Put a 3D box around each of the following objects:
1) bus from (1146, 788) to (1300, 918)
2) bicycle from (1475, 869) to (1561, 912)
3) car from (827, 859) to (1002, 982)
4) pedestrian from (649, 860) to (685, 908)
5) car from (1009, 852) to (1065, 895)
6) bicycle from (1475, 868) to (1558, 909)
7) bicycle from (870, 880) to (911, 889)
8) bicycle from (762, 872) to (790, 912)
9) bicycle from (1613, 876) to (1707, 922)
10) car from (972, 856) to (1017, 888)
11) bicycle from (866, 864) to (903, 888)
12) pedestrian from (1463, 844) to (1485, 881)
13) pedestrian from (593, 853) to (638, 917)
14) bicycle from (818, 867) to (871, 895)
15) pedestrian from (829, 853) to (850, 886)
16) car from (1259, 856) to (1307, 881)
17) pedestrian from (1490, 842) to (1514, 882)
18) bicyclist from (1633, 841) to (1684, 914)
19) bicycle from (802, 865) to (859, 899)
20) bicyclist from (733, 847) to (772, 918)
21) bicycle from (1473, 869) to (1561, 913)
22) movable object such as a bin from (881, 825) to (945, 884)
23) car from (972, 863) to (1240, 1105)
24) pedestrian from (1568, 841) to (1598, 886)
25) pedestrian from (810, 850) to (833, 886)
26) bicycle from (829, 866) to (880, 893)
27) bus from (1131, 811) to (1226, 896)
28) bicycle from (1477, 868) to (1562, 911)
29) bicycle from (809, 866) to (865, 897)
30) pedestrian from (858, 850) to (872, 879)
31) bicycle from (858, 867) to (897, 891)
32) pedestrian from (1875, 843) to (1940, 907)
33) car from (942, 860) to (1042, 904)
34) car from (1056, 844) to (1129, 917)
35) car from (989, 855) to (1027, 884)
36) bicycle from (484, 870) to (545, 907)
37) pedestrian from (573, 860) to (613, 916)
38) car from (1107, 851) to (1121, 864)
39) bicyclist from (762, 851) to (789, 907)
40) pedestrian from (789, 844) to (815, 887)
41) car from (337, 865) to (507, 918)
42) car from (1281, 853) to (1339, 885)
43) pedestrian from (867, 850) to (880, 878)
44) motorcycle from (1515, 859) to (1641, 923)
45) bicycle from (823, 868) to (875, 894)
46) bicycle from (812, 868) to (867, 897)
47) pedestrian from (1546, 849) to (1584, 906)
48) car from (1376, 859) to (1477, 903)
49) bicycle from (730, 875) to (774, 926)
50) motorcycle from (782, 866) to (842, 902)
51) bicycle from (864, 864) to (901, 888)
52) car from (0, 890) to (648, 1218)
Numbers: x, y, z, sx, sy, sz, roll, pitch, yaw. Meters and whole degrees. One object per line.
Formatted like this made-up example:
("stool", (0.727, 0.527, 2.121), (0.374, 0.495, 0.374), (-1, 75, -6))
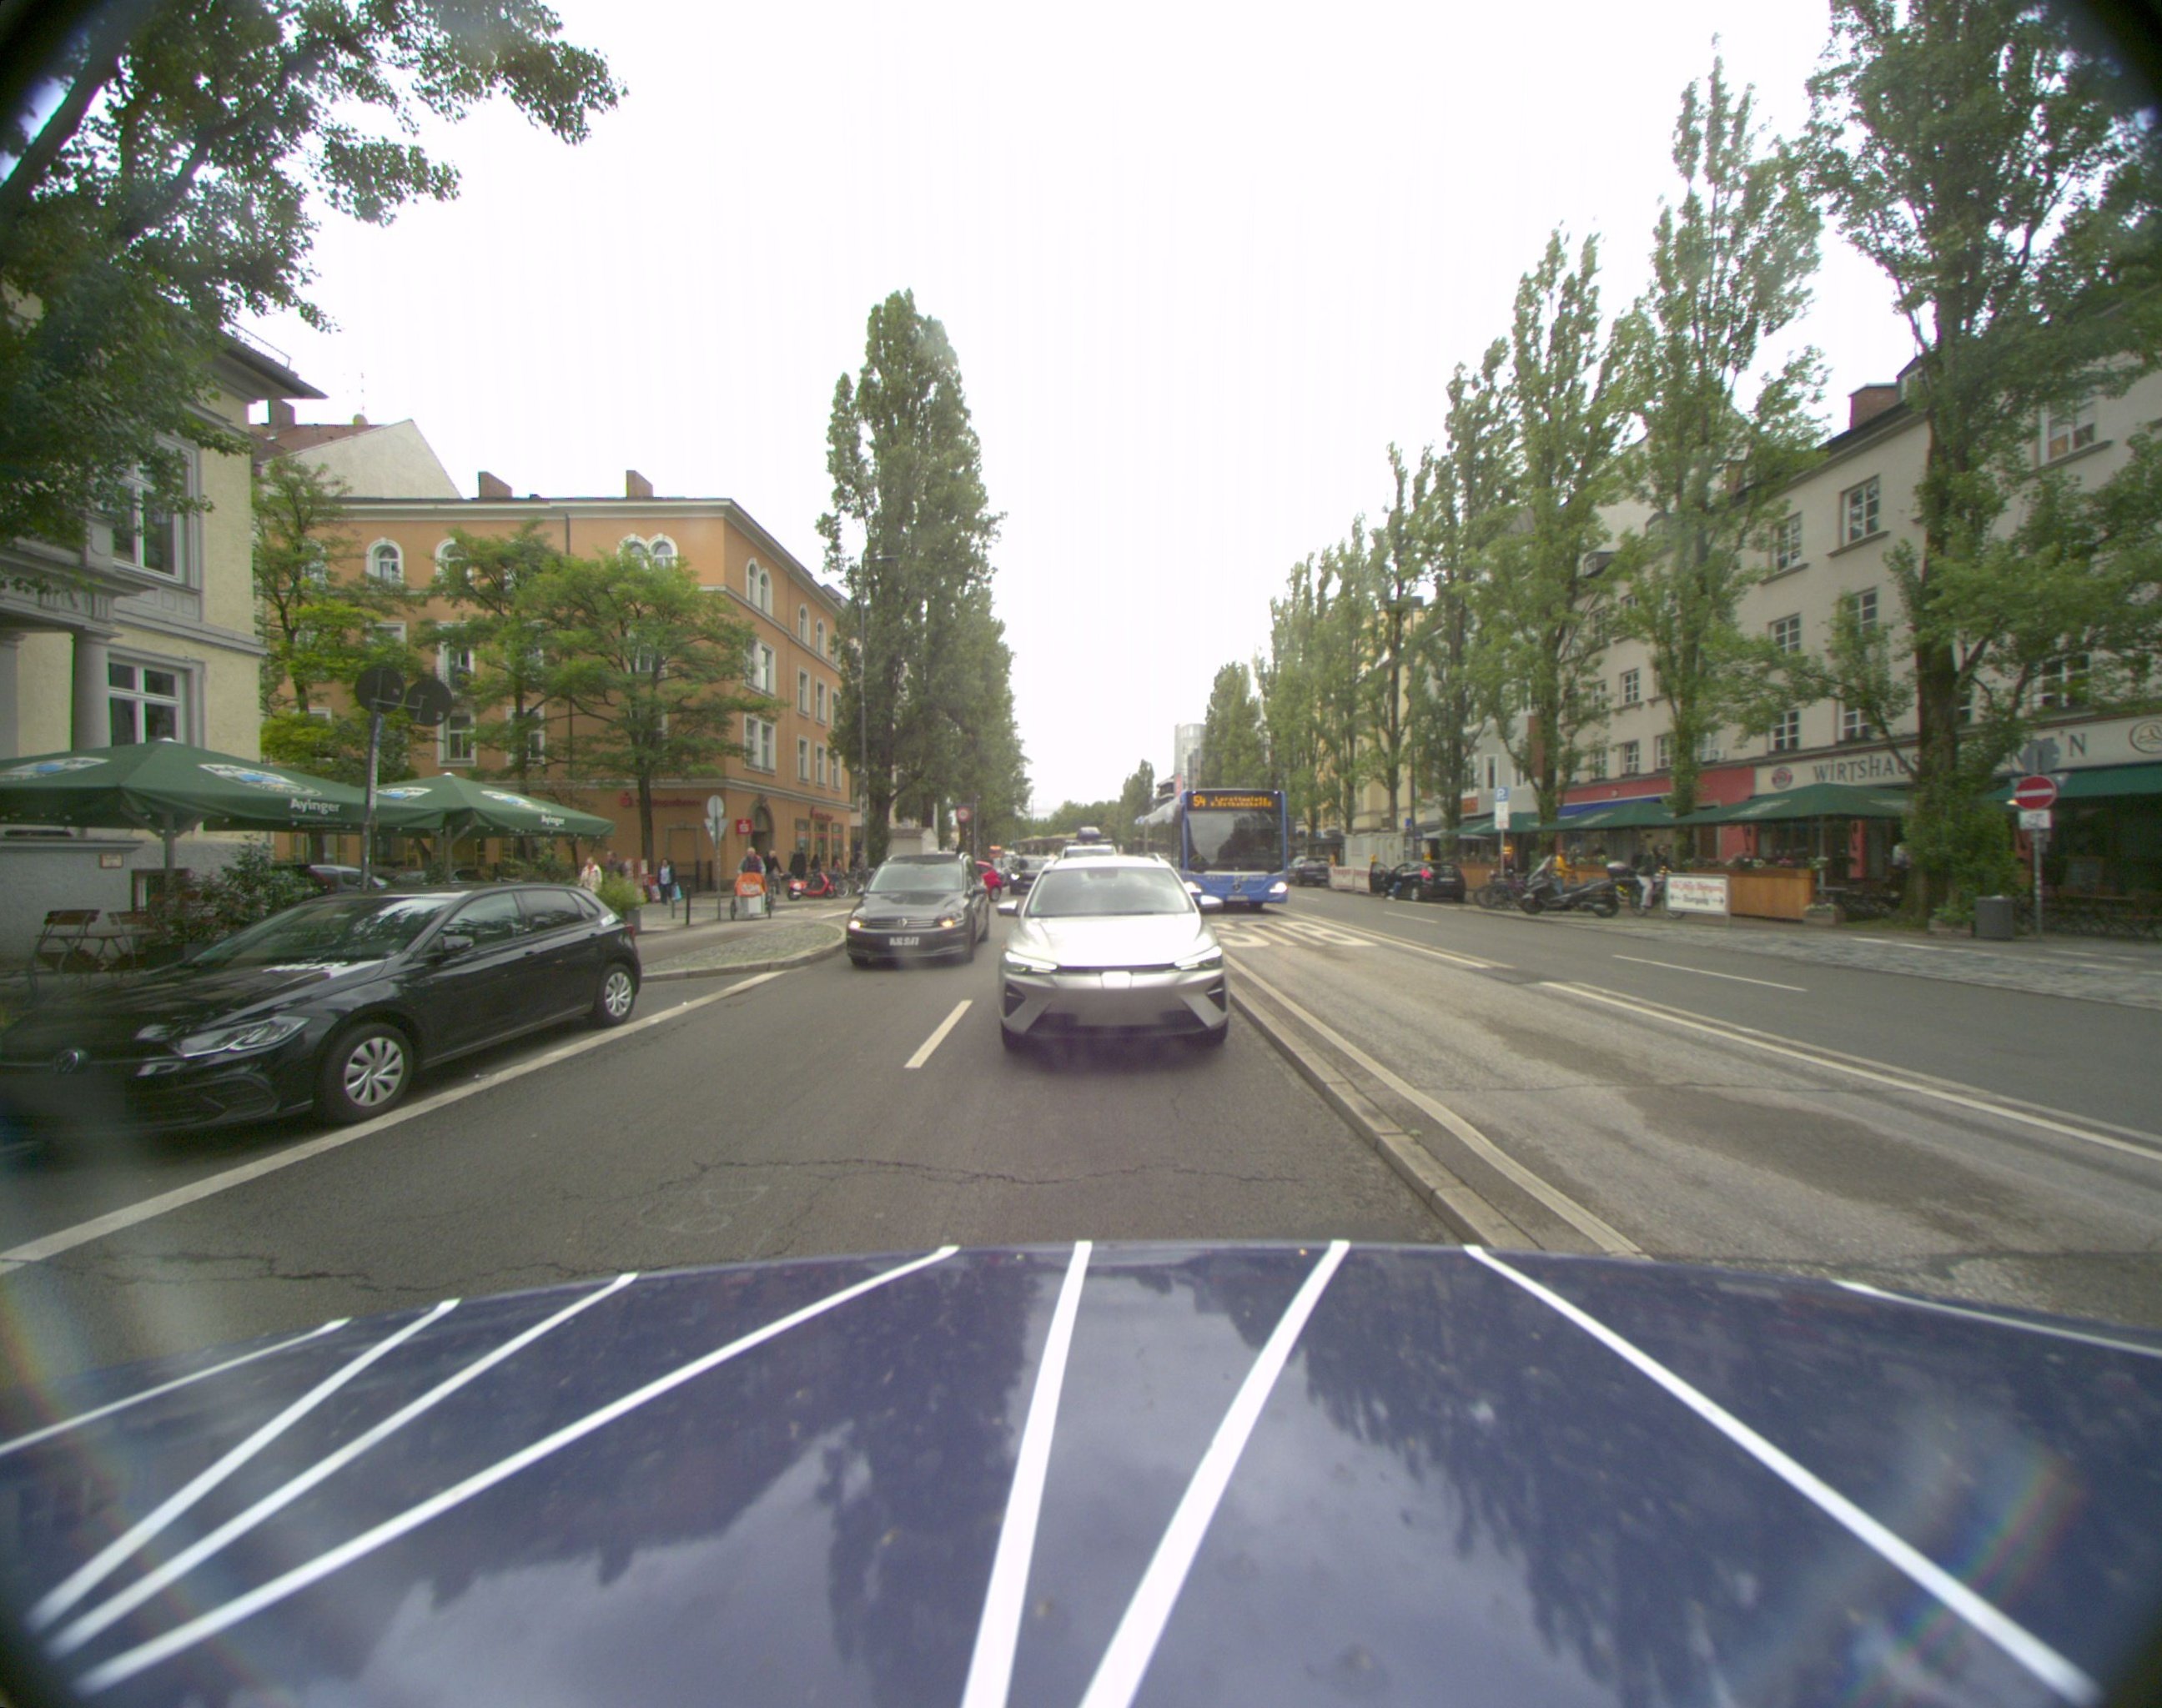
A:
("bus", (3.661, -0.038, 22.266), (2.696, 2.932, 10.052), (0, 0, 0))
("bicycle", (11.789, 0.978, 20.540), (1.976, 1.119, 0.283), (-2, 1, 37))
("car", (-2.467, 0.910, 12.400), (1.882, 1.582, 4.192), (-2, 0, 0))
("pedestrian", (-13.800, 0.993, 25.339), (0.745, 1.562, 0.664), (-2, 1, 3))
("car", (-1.824, 0.790, 32.881), (1.705, 1.683, 4.005), (-2, 0, 6))
("bicycle", (12.271, 0.961, 21.454), (1.976, 1.119, 0.343), (-2, 1, 37))
("bicycle", (-8.507, 1.378, 33.990), (1.677, 0.371, 0.830), (1, 0, -7))
("bicycle", (-9.350, 1.137, 23.245), (0.738, 1.113, 2.098), (-1, 0, -22))
("bicycle", (13.717, 1.044, 18.089), (0.613, 0.963, 2.174), (-1, 0, 1))
("car", (-4.490, 0.908, 40.101), (1.789, 1.544, 4.498), (-2, 0, 0))
("bicycle", (-8.988, 1.002, 34.736), (1.604, 1.078, 0.341), (-1, 1, -22))
("pedestrian", (20.509, 0.428, 39.683), (0.699, 1.915, 0.905), (0, 1, 4))
("pedestrian", (-13.184, 0.860, 21.533), (0.699, 1.756, 0.732), (-2, 1, 4))
("bicycle", (-9.466, 1.075, 30.408), (1.945, 1.069, 0.561), (-1, 1, 1))
("pedestrian", (-12.060, 0.764, 37.920), (0.745, 1.562, 0.614), (-2, 1, 3))
("car", (12.288, 0.831, 46.467), (1.802, 1.432, 4.574), (0, 0, 1))
("pedestrian", (20.436, 0.371, 36.876), (0.699, 1.915, 0.905), (0, 1, 4))
("bicyclist", (13.715, 0.535, 18.056), (0.606, 1.695, 0.816), (-1, 1, 2))
("bicycle", (-9.352, 1.040, 28.370), (1.945, 1.232, 0.561), (-1, 1, 1))
("bicyclist", (-8.311, 0.709, 19.247), (0.832, 1.747, 0.666), (-1, 1, -20))
("bicycle", (11.598, 0.981, 20.256), (1.976, 1.119, 0.361), (-2, 1, 37))
("movable object such as a bin", (-9.368, 0.018, 42.805), (2.445, 3.119, 4.543), (1, 0, 1))
("car", (0.176, 0.898, 7.115), (1.742, 1.510, 4.033), (-2, 0, 0))
("pedestrian", (21.306, 0.397, 32.286), (0.699, 1.915, 0.905), (0, 1, 4))
("pedestrian", (-12.086, 0.636, 35.386), (0.746, 1.651, 0.771), (-2, 1, -2))
("bicycle", (-9.443, 1.064, 31.761), (1.945, 1.078, 0.561), (-1, 1, 1))
("bus", (3.724, -0.045, 31.372), (2.690, 2.932, 10.052), (0, 0, 0))
("bicycle", (11.963, 0.968, 20.764), (1.976, 1.119, 0.283), (-2, 1, 37))
("bicycle", (-9.312, 1.057, 29.014), (1.945, 1.130, 0.561), (-1, 1, 1))
("pedestrian", (-12.975, 0.608, 45.660), (0.634, 1.684, 0.574), (-2, 1, -5))
("bicycle", (-8.880, 1.100, 33.229), (1.602, 1.004, 0.342), (-1, 1, -6))
("pedestrian", (21.551, 0.536, 19.832), (0.699, 1.637, 0.929), (0, 1, 6))
("car", (-3.168, 0.977, 27.979), (1.613, 1.425, 4.010), (-1, 0, 28))
("car", (0.306, 0.659, 22.368), (1.839, 1.831, 5.129), (-2, 1, 0))
("car", (-4.361, 0.899, 45.801), (1.789, 1.604, 4.498), (-2, 0, 0))
("bicycle", (-22.061, 1.352, 29.607), (1.945, 1.364, 0.561), (-2, 1, 1))
("pedestrian", (-14.128, 0.971, 22.024), (0.699, 1.562, 0.575), (-2, 1, 3))
("car", (4.946, 0.530, 114.365), (1.998, 2.002, 4.000), (0, 0, 1))
("bicyclist", (-9.379, 0.763, 23.313), (0.742, 1.677, 0.747), (-1, 1, -23))
("pedestrian", (-12.879, 0.512, 35.092), (0.839, 1.937, 0.802), (-2, 1, 2))
("car", (-22.254, 1.240, 25.782), (3.997, 1.511, 1.906), (-2, 1, -1))
("car", (12.140, 0.774, 40.552), (1.802, 1.603, 4.574), (0, 0, 1))
("pedestrian", (-12.762, 0.638, 46.649), (0.619, 1.684, 0.574), (-2, 1, -8))
("motorcycle", (11.966, 0.844, 18.390), (0.747, 1.406, 2.448), (-1, 0, -33))
("bicycle", (-9.452, 1.097, 31.013), (1.945, 1.004, 0.561), (-1, 1, 1))
("bicycle", (-9.406, 1.107, 29.665), (1.945, 1.082, 0.561), (-1, 1, 1))
("pedestrian", (14.875, 0.717, 23.352), (0.731, 1.716, 0.700), (0, 1, 1))
("car", (12.221, 0.919, 27.161), (1.760, 1.414, 3.784), (1, 0, -2))
("bicycle", (-8.158, 1.116, 18.894), (0.888, 1.113, 2.098), (-1, 0, -21))
("motorcycle", (-9.700, 1.065, 27.408), (1.963, 1.214, 0.514), (-1, 1, -25))
("bicycle", (-9.145, 0.994, 35.067), (1.610, 1.078, 0.321), (-1, 1, -22))
("car", (-5.222, 1.082, 5.713), (1.698, 1.408, 3.950), (-1, 0, -1))
